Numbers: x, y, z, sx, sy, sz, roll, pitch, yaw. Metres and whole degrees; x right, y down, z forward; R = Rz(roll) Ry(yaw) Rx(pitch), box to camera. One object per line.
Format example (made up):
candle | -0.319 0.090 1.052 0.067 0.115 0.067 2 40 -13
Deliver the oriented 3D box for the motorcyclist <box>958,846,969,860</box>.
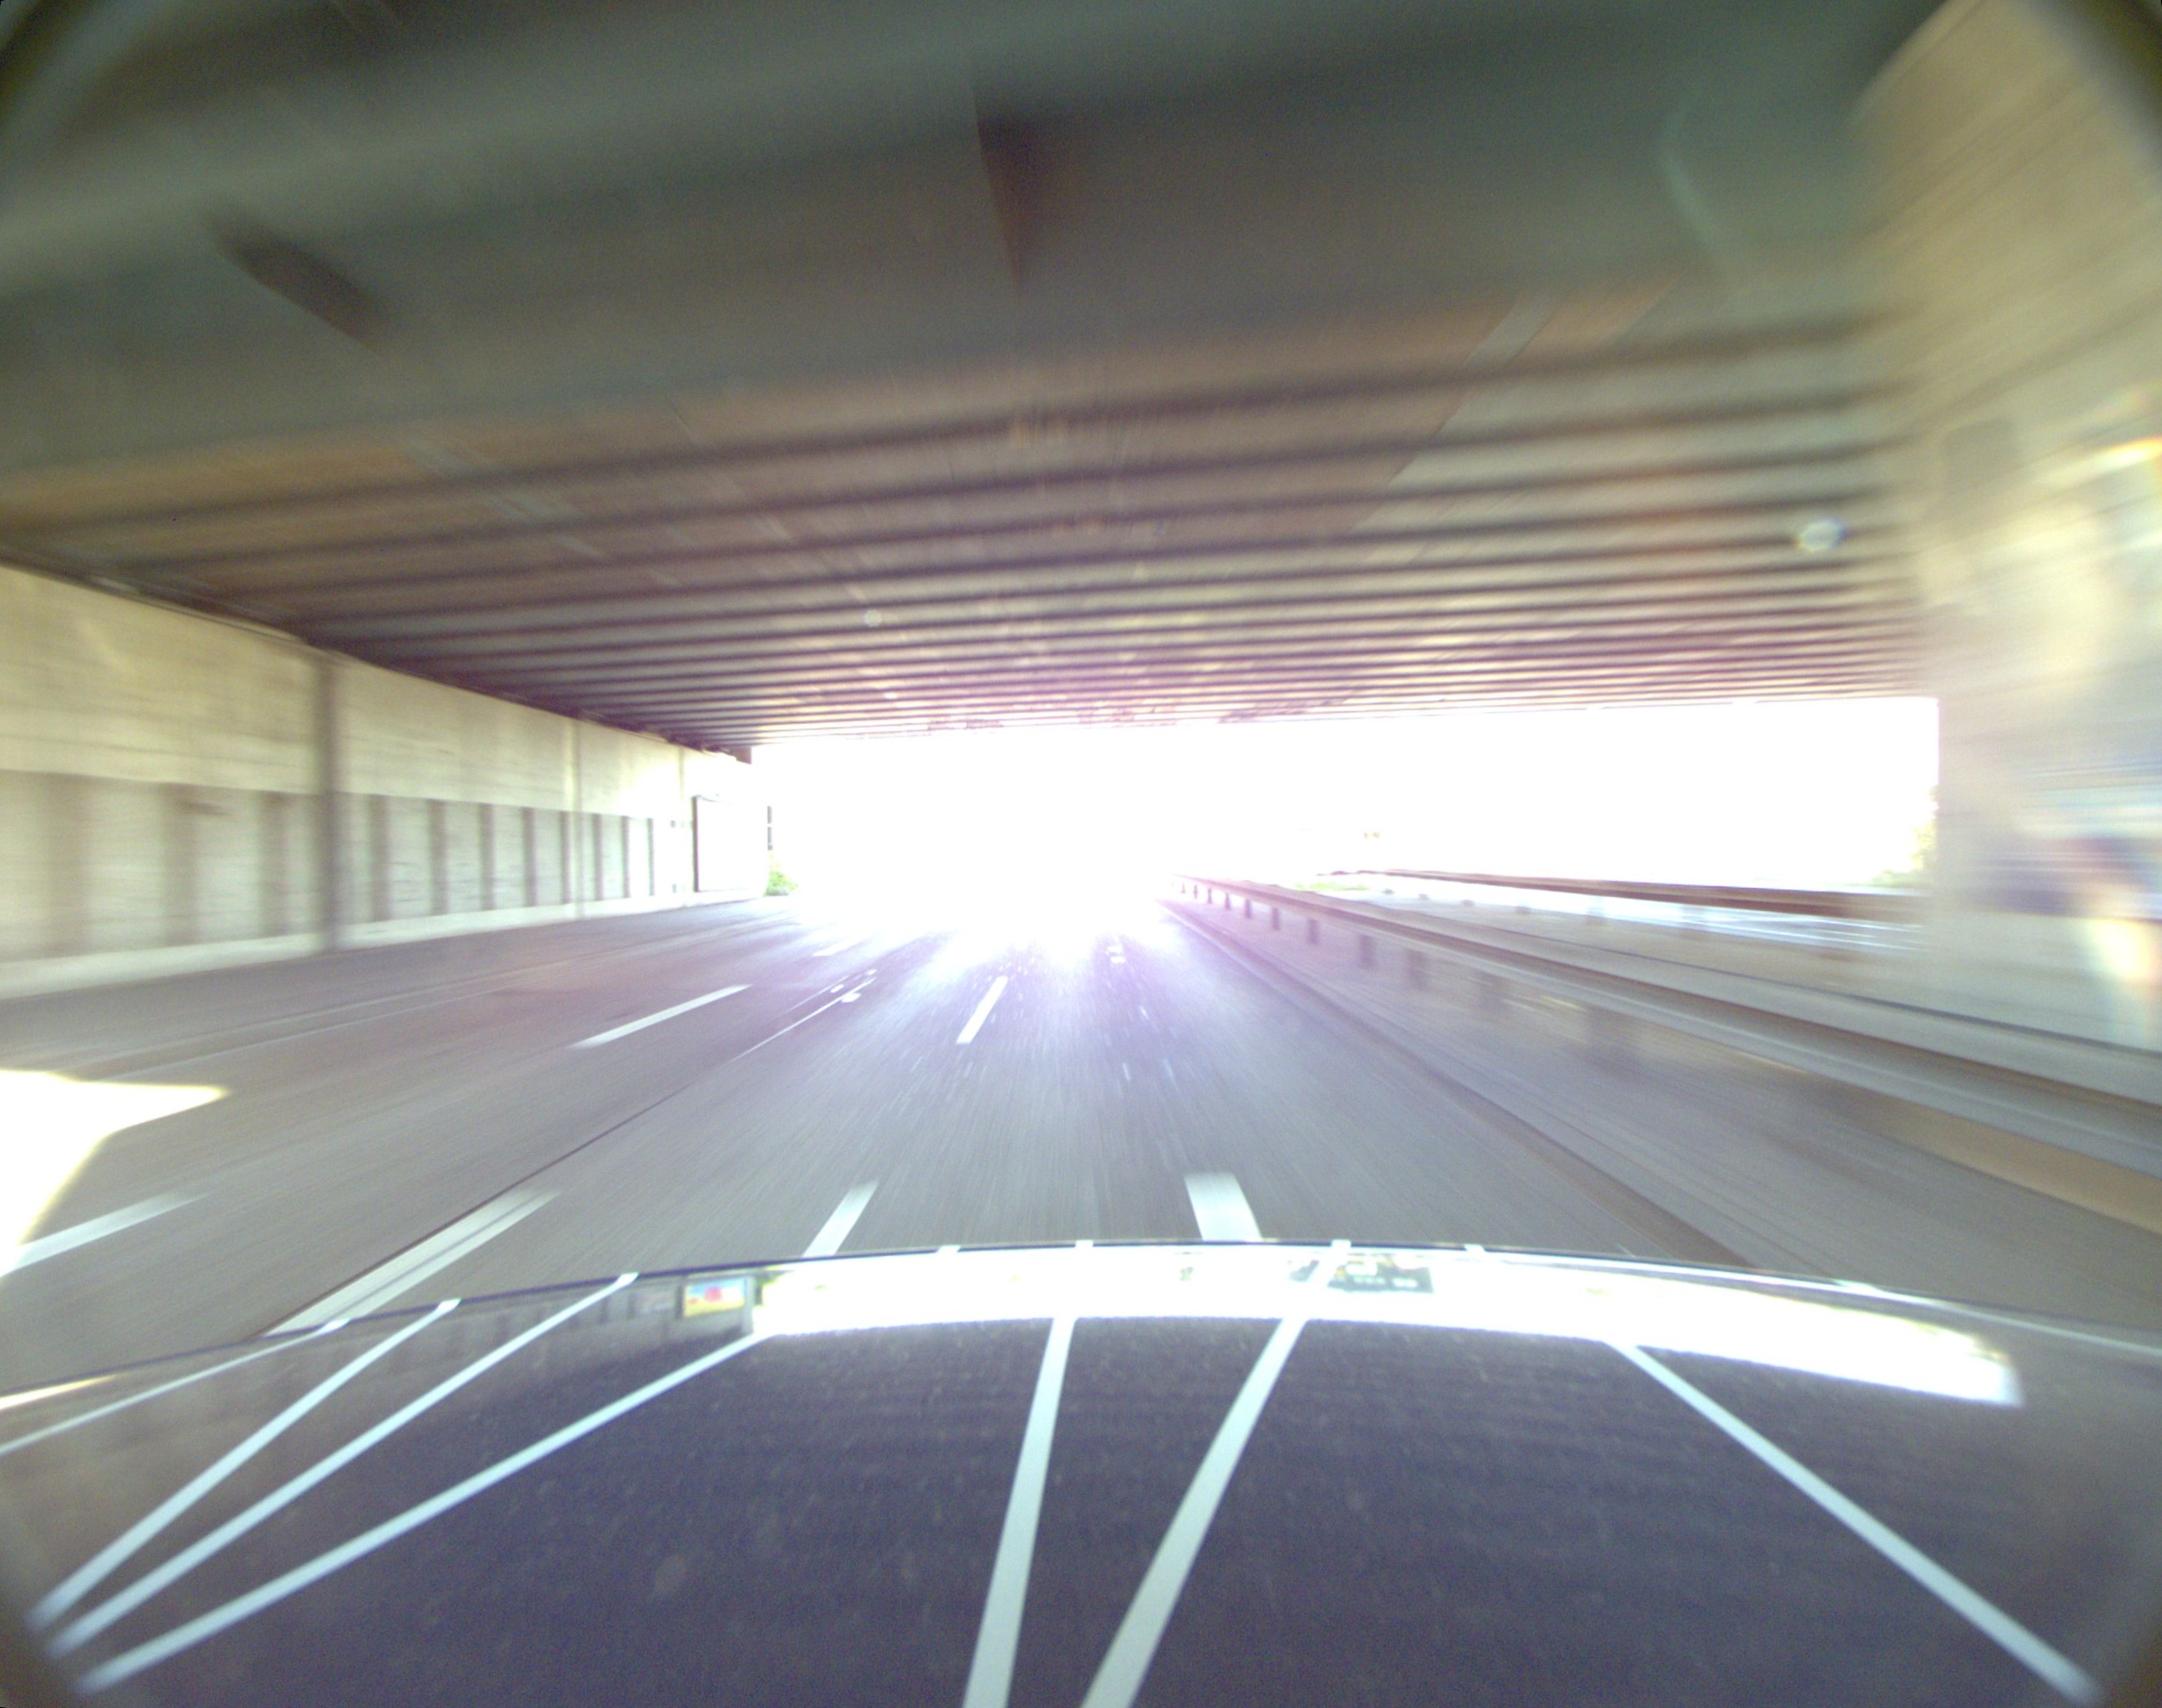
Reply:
motorcyclist | -12.177 -0.133 78.861 0.839 1.434 0.878 -2 1 3

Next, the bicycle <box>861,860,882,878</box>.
bicycle | -13.260 0.926 48.106 0.784 1.051 2.491 -3 1 -26

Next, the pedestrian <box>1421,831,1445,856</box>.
pedestrian | 26.631 -0.798 57.483 1.275 1.825 1.084 -3 1 -3

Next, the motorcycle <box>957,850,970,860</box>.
motorcycle | -12.174 0.098 78.837 0.811 1.040 2.353 -2 1 3

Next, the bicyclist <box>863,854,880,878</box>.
bicyclist | -13.269 0.752 48.110 0.844 1.413 1.111 -3 2 -25
